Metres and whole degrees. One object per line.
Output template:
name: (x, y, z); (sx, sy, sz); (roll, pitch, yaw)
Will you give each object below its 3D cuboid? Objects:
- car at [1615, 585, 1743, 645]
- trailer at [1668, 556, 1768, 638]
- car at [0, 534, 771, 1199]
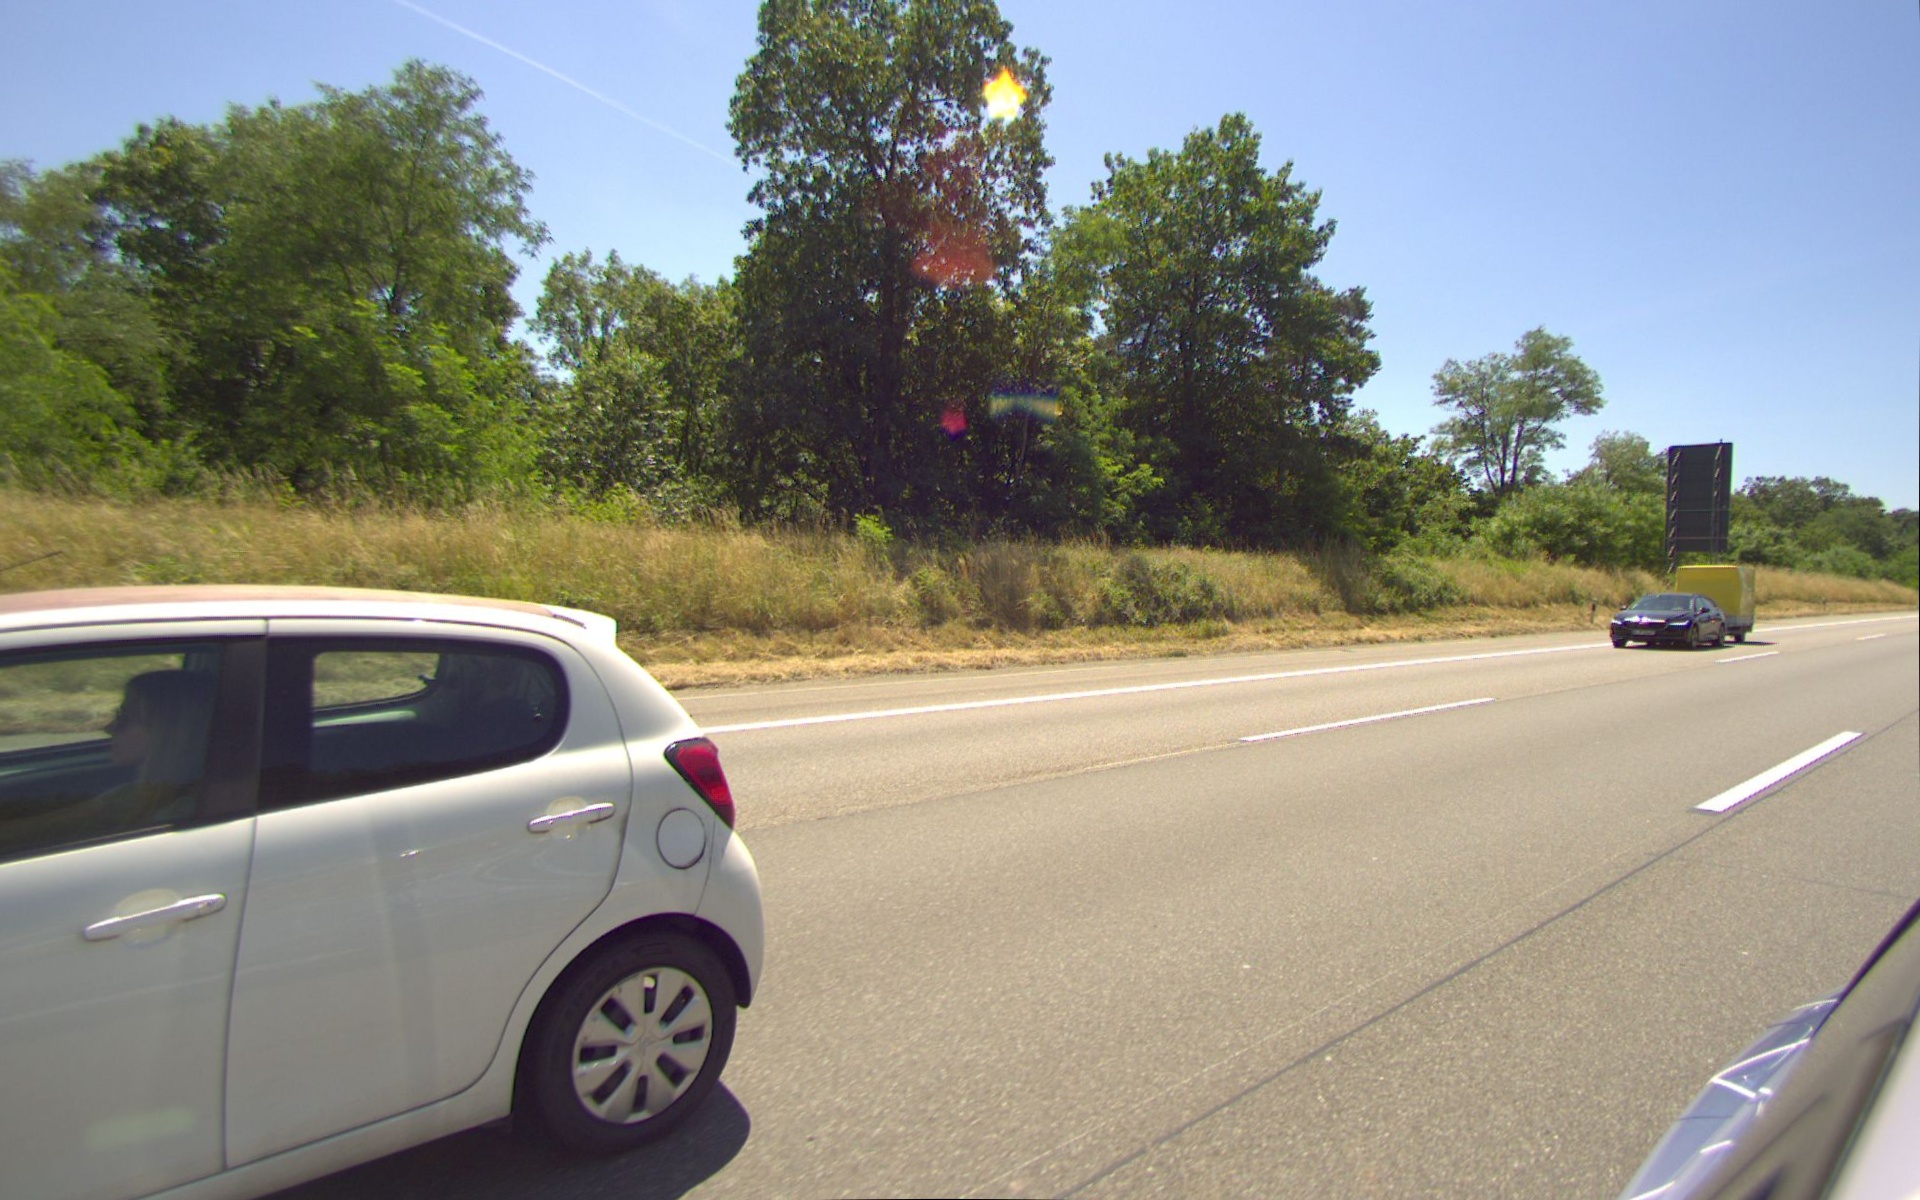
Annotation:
car: (19.559, 0.349, 27.455); (4.706, 1.474, 1.824); (0, 1, -42)
trailer: (22.722, -0.104, 30.289); (3.773, 2.318, 1.705); (0, 1, -42)
car: (-2.574, 0.630, 2.180); (3.953, 1.514, 1.711); (0, 1, -41)
